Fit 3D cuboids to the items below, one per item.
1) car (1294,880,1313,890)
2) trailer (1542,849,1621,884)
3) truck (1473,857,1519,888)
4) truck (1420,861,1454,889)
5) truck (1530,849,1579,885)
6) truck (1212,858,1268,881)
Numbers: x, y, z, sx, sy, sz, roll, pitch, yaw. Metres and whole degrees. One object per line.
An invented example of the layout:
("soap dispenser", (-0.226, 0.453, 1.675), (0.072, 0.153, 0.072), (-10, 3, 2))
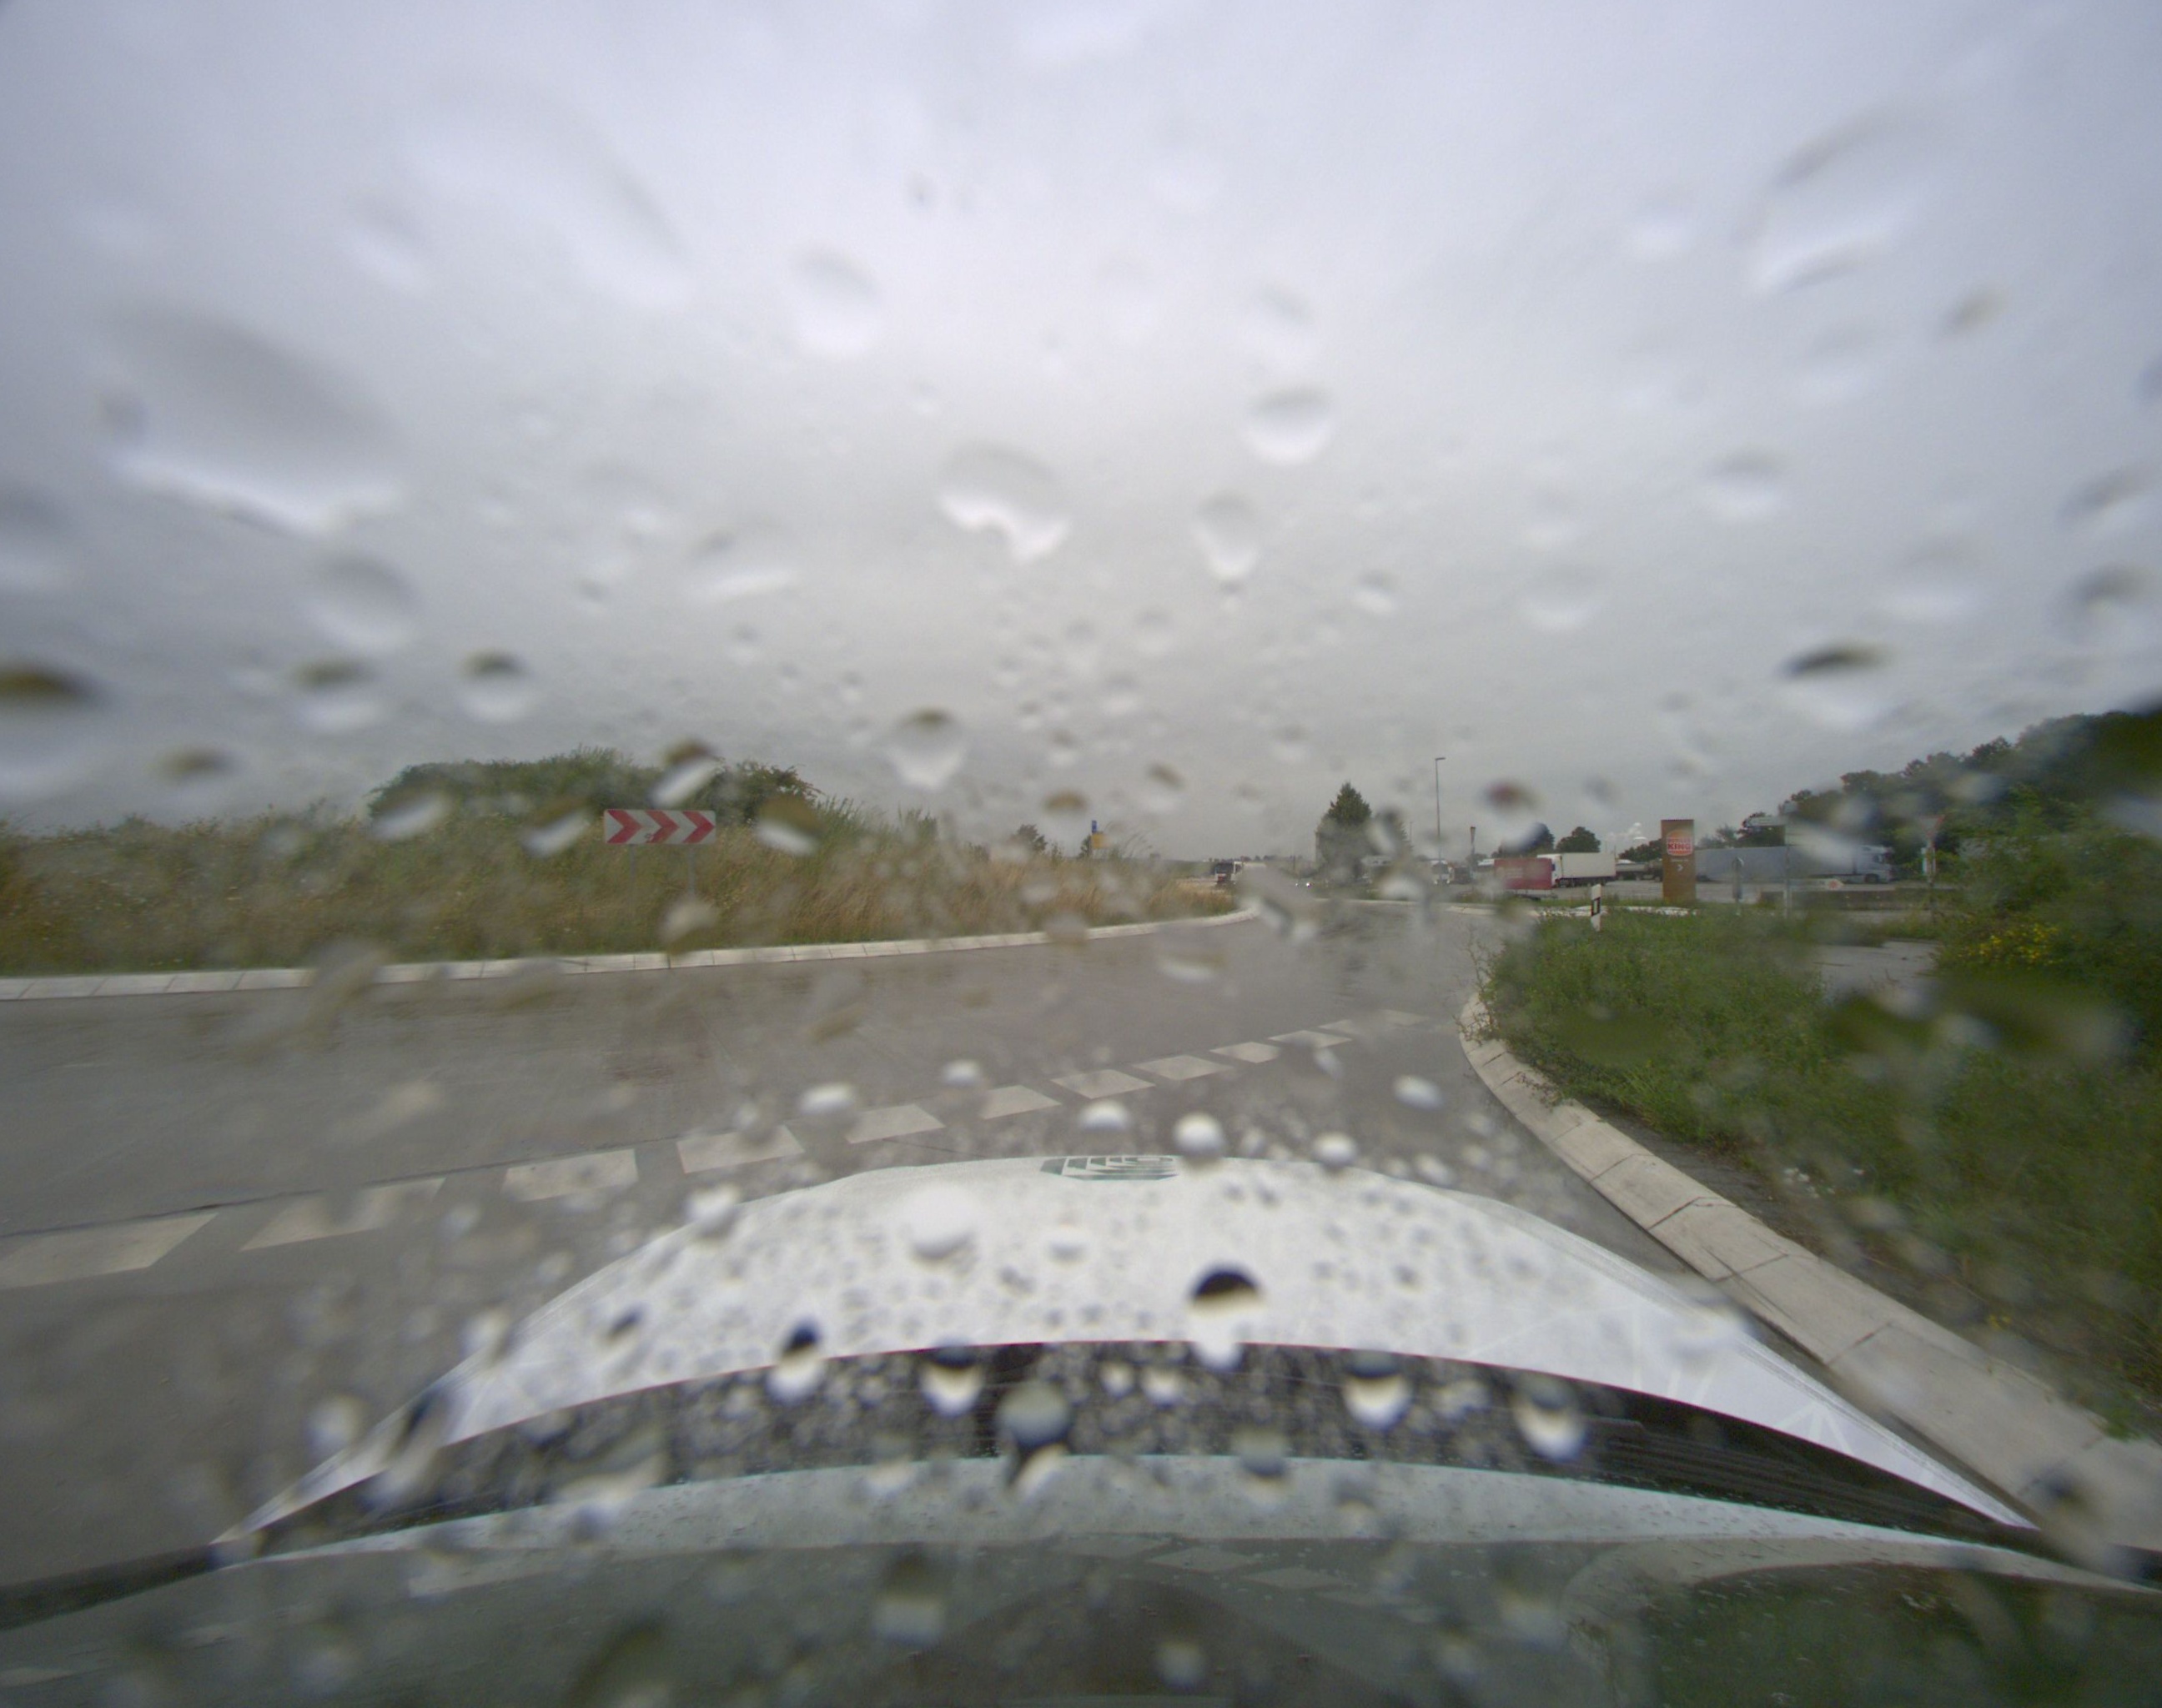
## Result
("car", (28.922, 4.024, 106.013), (1.515, 1.211, 3.634), (-2, -2, 30))
("trailer", (60.182, 1.534, 97.710), (13.191, 3.948, 3.248), (1, -3, -36))
("truck", (65.367, 2.912, 128.066), (3.313, 4.737, 11.262), (-3, -3, 43))
("truck", (55.739, 3.306, 127.751), (2.881, 4.290, 8.837), (-1, -2, 10))
("truck", (54.302, 1.549, 93.411), (4.480, 3.948, 3.248), (1, -3, -36))
("truck", (16.673, 1.623, 85.008), (2.486, 2.223, 8.464), (-3, -2, 35))
